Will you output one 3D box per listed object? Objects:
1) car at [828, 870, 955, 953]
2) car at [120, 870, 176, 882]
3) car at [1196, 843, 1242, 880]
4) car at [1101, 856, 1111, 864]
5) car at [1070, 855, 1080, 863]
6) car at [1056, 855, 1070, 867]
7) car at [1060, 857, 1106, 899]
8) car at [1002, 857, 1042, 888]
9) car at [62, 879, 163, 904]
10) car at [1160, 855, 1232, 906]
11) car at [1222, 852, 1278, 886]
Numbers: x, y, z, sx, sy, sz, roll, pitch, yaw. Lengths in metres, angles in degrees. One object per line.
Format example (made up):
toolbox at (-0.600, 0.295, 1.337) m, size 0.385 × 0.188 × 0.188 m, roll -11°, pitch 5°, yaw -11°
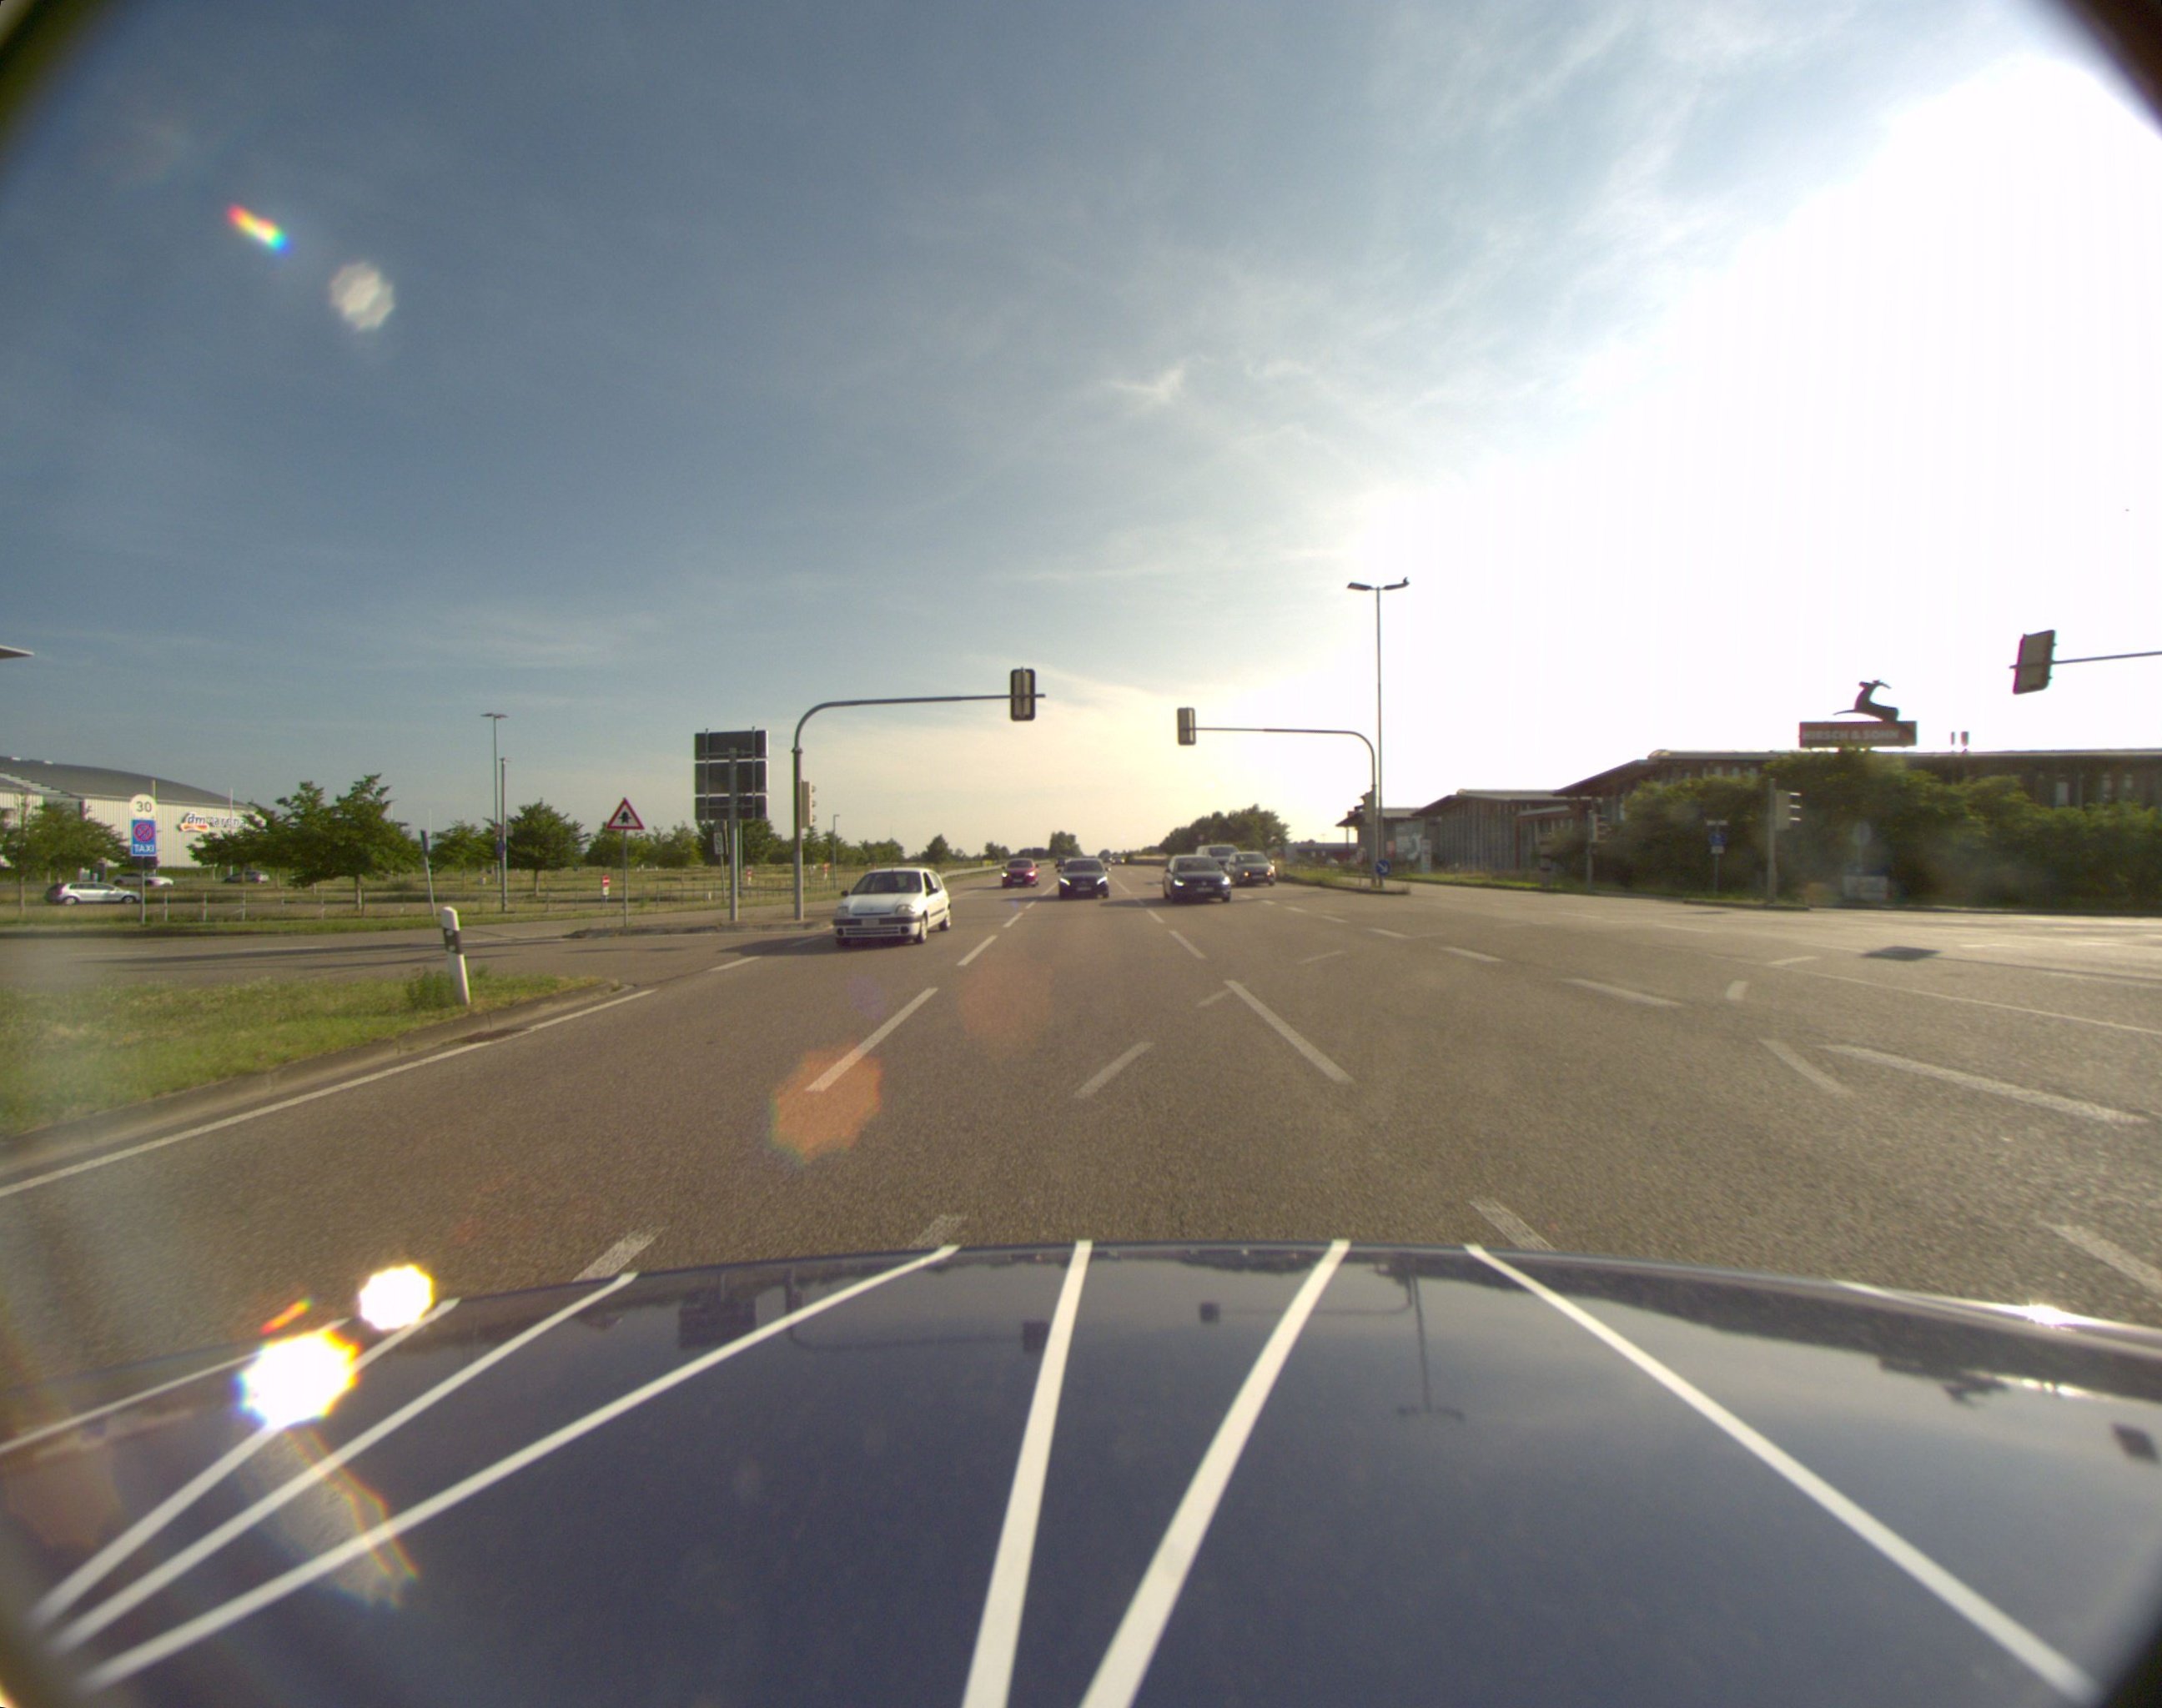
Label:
car at (-3.606, 1.041, 15.040) m, size 1.578 × 1.371 × 3.452 m, roll -1°, pitch 0°, yaw 1°
car at (-103.840, 2.454, 84.621) m, size 4.209 × 1.272 × 1.486 m, roll -1°, pitch 0°, yaw -3°
car at (7.250, 0.402, 40.260) m, size 1.650 × 1.823 × 4.226 m, roll -1°, pitch 0°, yaw 1°
car at (4.860, 1.129, 148.241) m, size 1.751 × 1.512 × 3.739 m, roll -1°, pitch 0°, yaw -1°
car at (-1.049, 0.874, 138.764) m, size 1.751 × 1.512 × 3.739 m, roll -1°, pitch 0°, yaw 1°
car at (-2.394, 0.941, 102.583) m, size 1.751 × 1.512 × 3.739 m, roll -1°, pitch 0°, yaw 1°
car at (0.098, 0.851, 29.116) m, size 1.576 × 1.462 × 5.022 m, roll -1°, pitch 0°, yaw 1°
car at (-3.105, 0.948, 40.718) m, size 1.751 × 1.512 × 3.739 m, roll -1°, pitch 0°, yaw 1°
car at (-62.121, 2.375, 48.806) m, size 1.709 × 1.447 × 3.568 m, roll -1°, pitch 0°, yaw 12°
car at (3.627, 0.792, 24.691) m, size 1.650 × 1.462 × 4.776 m, roll -1°, pitch 0°, yaw 1°
car at (7.468, 0.641, 33.919) m, size 1.711 × 1.428 × 3.565 m, roll -1°, pitch 0°, yaw 1°
